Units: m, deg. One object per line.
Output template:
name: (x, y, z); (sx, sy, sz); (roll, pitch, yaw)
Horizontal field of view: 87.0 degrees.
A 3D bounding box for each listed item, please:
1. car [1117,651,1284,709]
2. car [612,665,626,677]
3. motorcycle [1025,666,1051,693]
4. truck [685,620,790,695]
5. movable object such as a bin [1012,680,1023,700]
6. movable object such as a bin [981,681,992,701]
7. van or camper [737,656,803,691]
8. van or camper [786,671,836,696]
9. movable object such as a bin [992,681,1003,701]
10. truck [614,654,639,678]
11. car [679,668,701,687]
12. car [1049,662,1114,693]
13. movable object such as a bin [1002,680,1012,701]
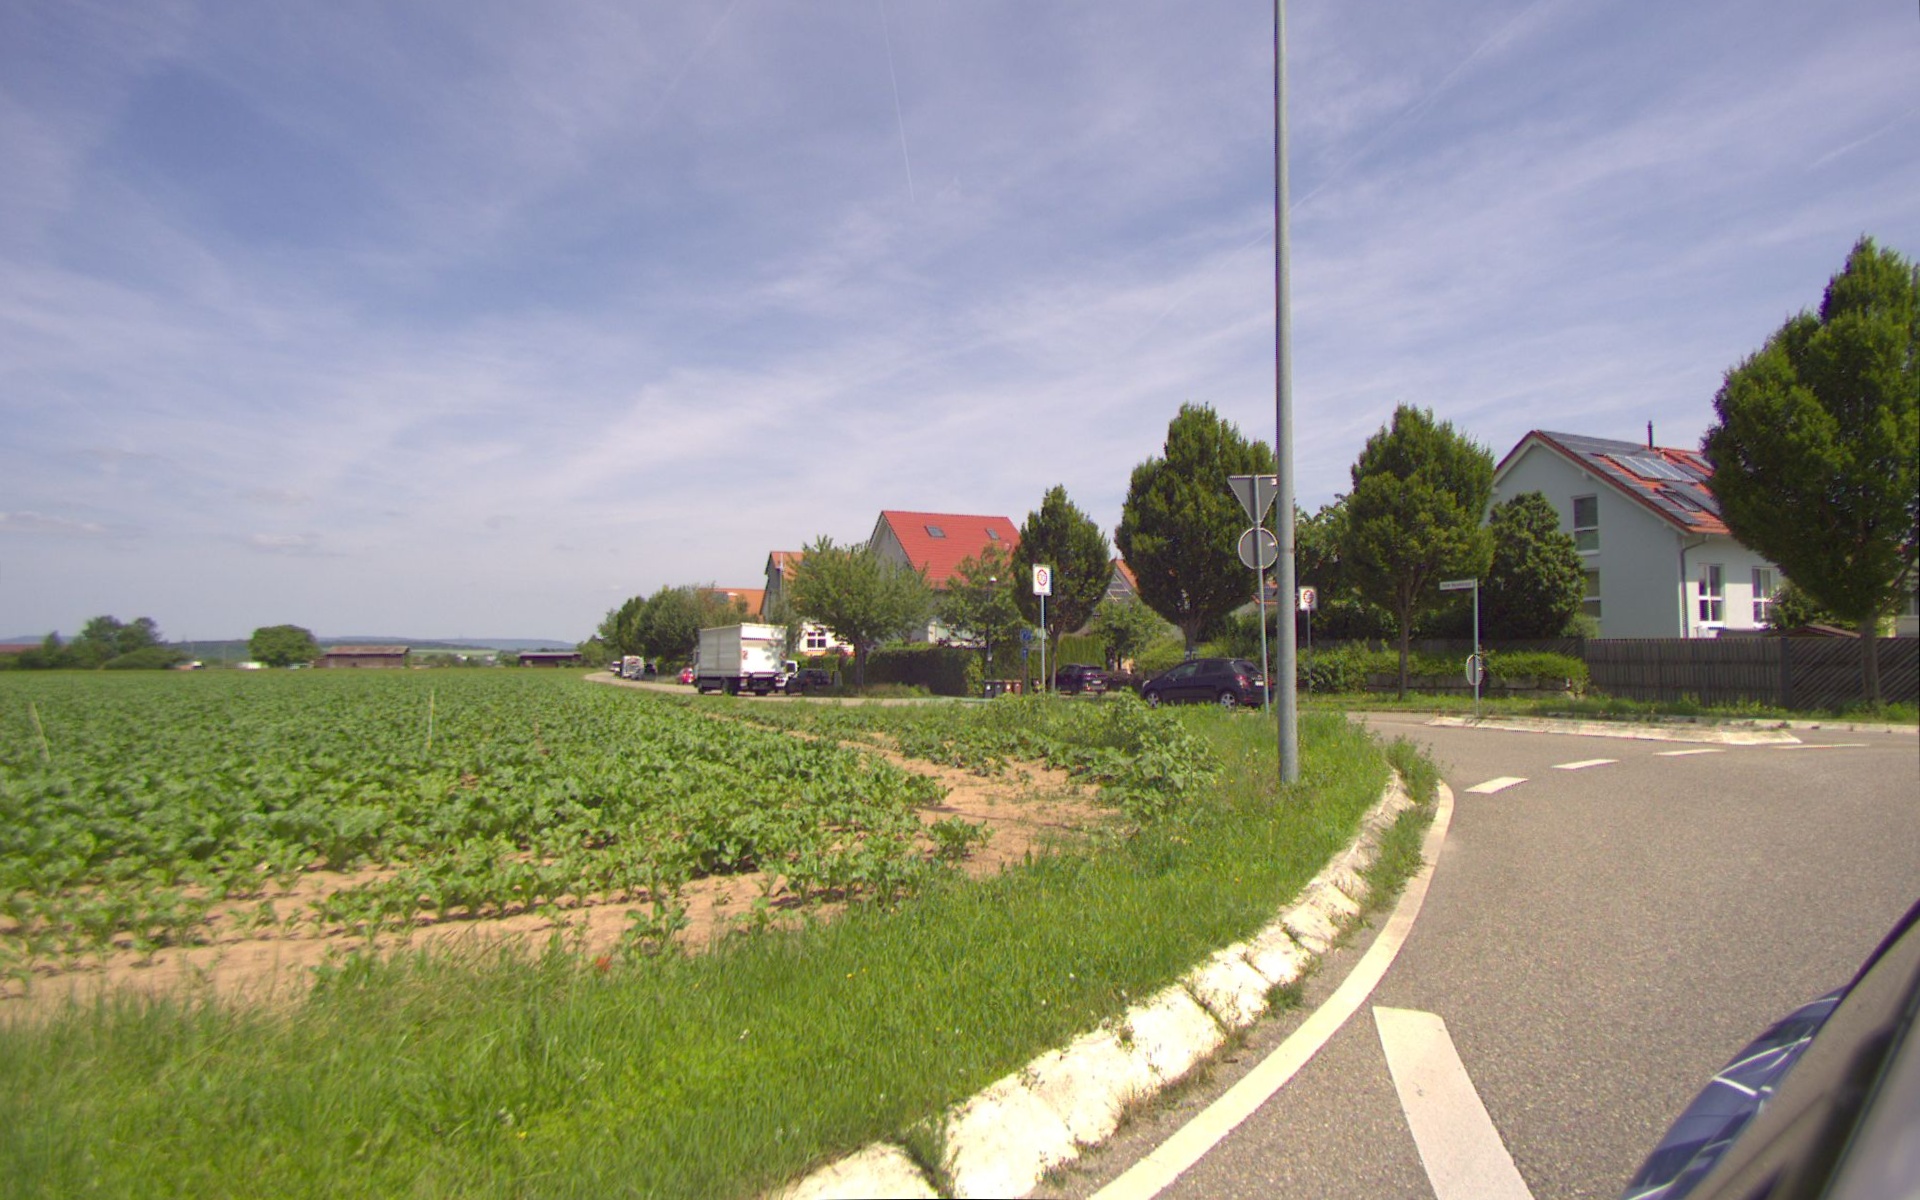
car: (6.607, 2.181, 28.248); (1.649, 1.484, 4.423); (4, -5, -41)
car: (-48.413, 10.069, 143.631); (1.390, 1.683, 3.239); (2, -5, -27)
motorcycle: (4.170, 4.240, 54.245); (0.833, 1.366, 1.664); (0, -4, -17)
truck: (-12.280, 3.177, 55.098); (2.721, 3.720, 9.384); (2, -4, -31)
movable object such as a bin: (2.869, 4.493, 50.294); (0.432, 0.979, 0.499); (1, -4, -10)
movable object such as a bin: (1.318, 4.476, 50.008); (0.432, 0.979, 0.499); (1, -4, -10)
van or camper: (-11.830, 4.486, 62.673); (2.063, 2.063, 6.784); (2, -3, -28)
van or camper: (-8.098, 4.490, 54.903); (1.565, 1.236, 3.688); (1, -4, -28)
movable object such as a bin: (1.862, 4.483, 50.115); (0.432, 0.979, 0.499); (1, -4, -10)
truck: (-42.311, 8.369, 128.217); (2.062, 2.926, 6.784); (2, -5, -27)
car: (-23.365, 6.653, 87.591); (1.491, 1.403, 3.493); (1, -1, -21)
car: (6.428, 4.118, 53.993); (1.676, 1.572, 4.005); (1, -4, -24)
movable object such as a bin: (2.333, 4.488, 50.206); (0.432, 0.979, 0.499); (1, -4, -10)
